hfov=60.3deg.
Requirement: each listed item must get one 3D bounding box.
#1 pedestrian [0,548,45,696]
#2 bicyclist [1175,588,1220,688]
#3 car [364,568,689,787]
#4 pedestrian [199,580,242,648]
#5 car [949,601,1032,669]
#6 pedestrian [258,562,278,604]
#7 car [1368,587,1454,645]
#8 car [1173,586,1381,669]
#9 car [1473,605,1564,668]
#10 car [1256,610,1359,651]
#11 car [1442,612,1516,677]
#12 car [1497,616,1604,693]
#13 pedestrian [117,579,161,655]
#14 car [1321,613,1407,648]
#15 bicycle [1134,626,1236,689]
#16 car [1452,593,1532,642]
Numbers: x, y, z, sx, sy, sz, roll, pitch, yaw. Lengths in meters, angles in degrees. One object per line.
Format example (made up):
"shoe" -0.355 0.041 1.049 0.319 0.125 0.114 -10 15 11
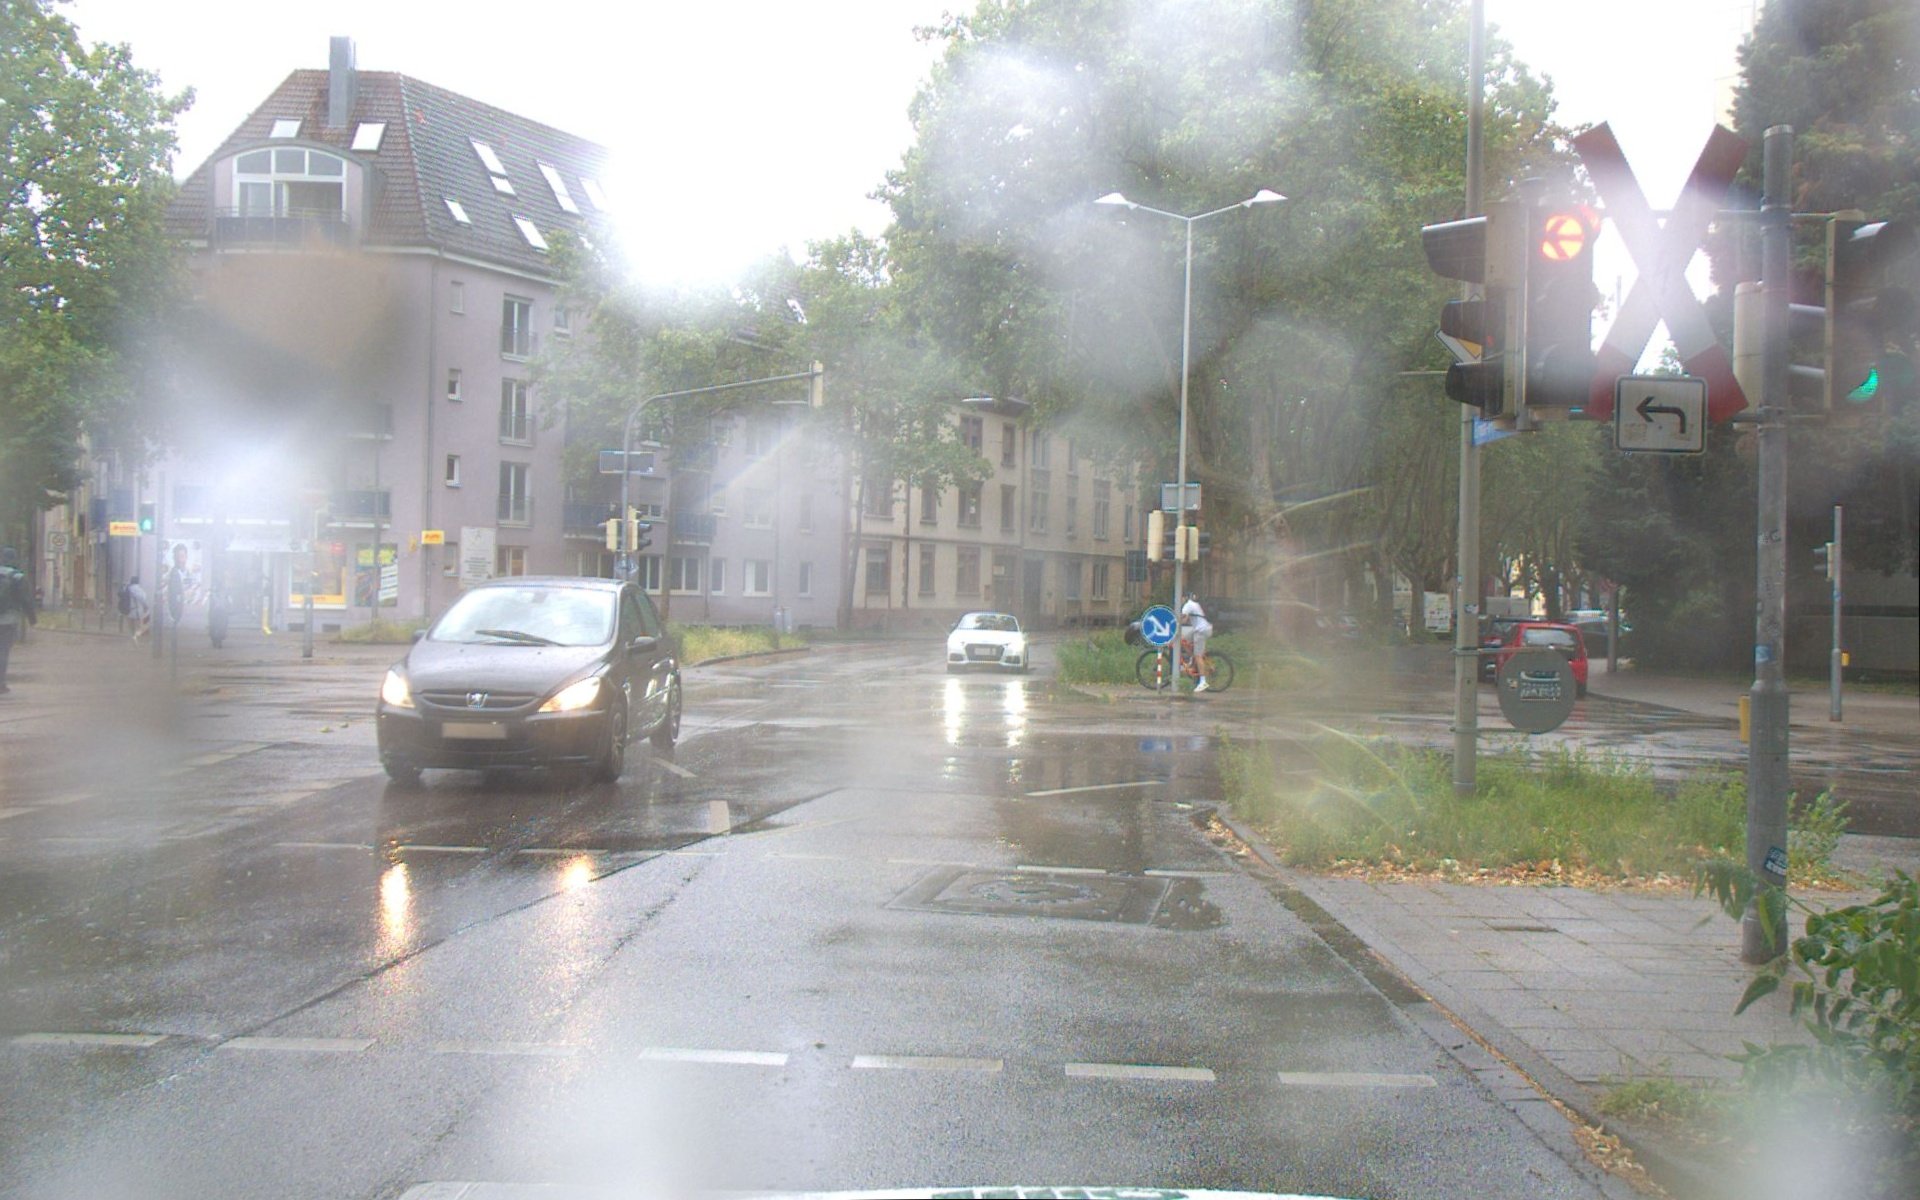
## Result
"pedestrian" -12.367 0.282 21.461 0.777 1.888 0.676 1 0 -25
"bicyclist" 4.359 0.690 30.423 0.778 1.817 0.697 1 -1 7
"car" -3.296 0.544 13.291 1.679 1.485 3.747 1 0 -1
"pedestrian" -17.183 0.327 38.438 0.736 1.560 0.789 1 -1 -12
"car" 0.725 0.791 39.089 1.845 1.461 4.001 1 0 1
"pedestrian" -22.660 -0.553 54.165 0.550 1.353 0.443 1 -1 -16
"car" 23.950 0.836 88.073 2.005 2.999 4.742 1 0 -21
"car" 6.282 0.530 32.796 3.902 1.512 2.002 1 0 12
"car" 13.893 0.871 41.309 1.745 1.371 3.932 2 1 13
"car" 13.783 1.202 65.621 3.902 1.512 2.002 1 0 12
"car" 14.986 1.247 47.913 1.745 1.757 4.003 1 0 13
"car" 13.048 1.157 36.740 1.754 1.524 4.003 1 0 13
"pedestrian" -18.006 0.367 36.270 0.662 1.628 0.964 1 -1 -16
"car" 19.258 1.430 78.930 3.902 1.574 2.002 1 0 12
"bicycle" 4.130 1.045 30.446 1.833 1.100 0.657 1 0 7
"car" 33.666 1.072 104.817 1.974 2.999 4.720 1 0 -31
